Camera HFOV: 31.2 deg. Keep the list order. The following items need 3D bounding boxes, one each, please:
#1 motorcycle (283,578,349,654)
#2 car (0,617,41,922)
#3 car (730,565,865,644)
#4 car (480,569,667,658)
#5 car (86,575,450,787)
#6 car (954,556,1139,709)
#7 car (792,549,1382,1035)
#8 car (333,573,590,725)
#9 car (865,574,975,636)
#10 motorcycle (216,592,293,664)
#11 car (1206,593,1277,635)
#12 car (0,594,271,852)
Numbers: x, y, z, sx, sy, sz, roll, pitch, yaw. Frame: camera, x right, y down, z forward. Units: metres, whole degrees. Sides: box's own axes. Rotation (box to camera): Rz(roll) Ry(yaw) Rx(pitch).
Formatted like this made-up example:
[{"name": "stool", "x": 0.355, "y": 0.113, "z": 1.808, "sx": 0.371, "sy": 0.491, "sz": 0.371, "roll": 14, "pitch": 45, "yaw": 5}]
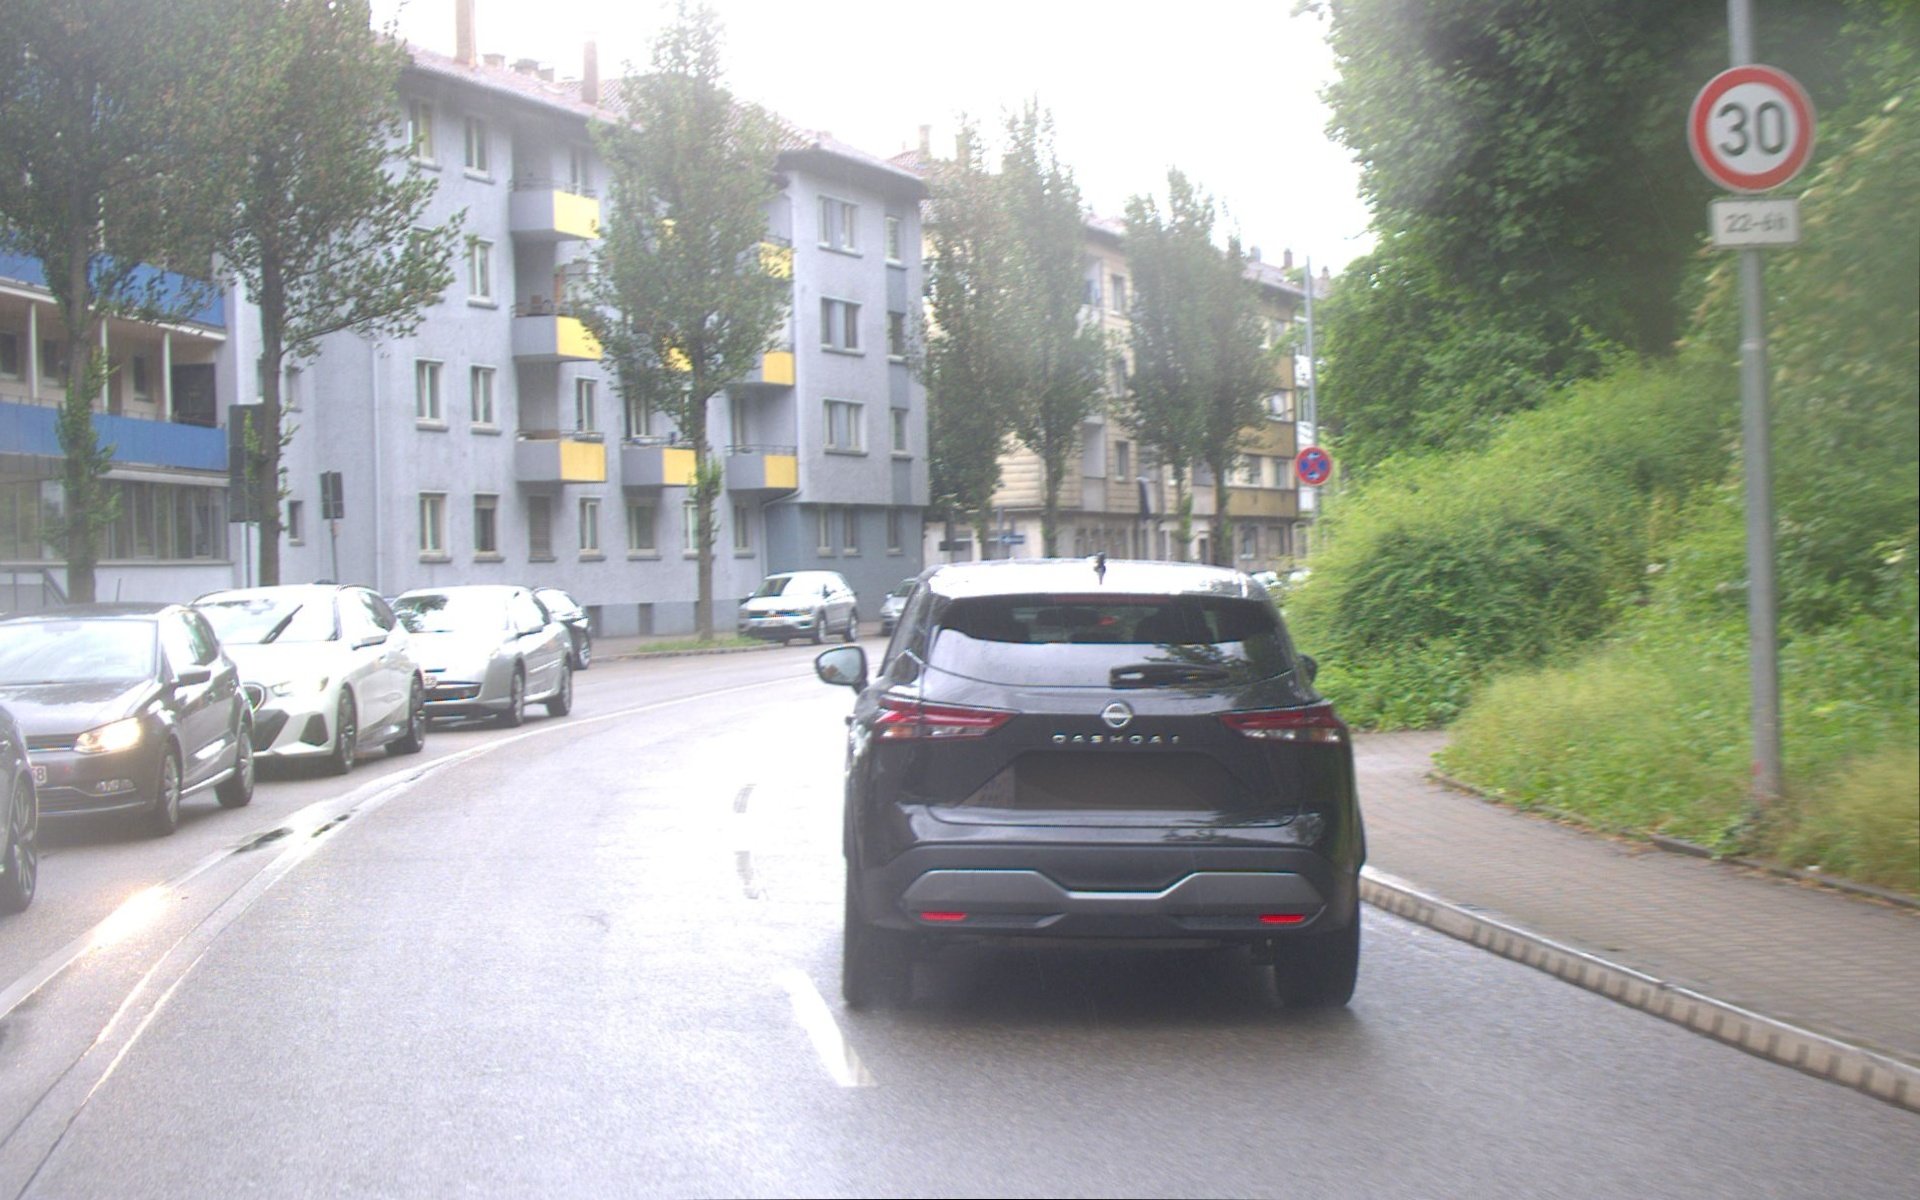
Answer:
[{"name": "motorcycle", "x": -12.424, "y": 0.300, "z": 66.386, "sx": 0.675, "sy": 1.409, "sz": 2.236, "roll": 1, "pitch": 1, "yaw": 5}, {"name": "car", "x": -5.260, "y": 0.834, "z": 14.513, "sx": 1.790, "sy": 1.402, "sz": 4.626, "roll": -2, "pitch": 1, "yaw": -4}, {"name": "car", "x": -3.541, "y": 0.067, "z": 75.742, "sx": 1.764, "sy": 1.598, "sz": 4.531, "roll": -2, "pitch": 0, "yaw": 13}, {"name": "car", "x": -6.879, "y": 0.214, "z": 61.671, "sx": 1.821, "sy": 1.435, "sz": 4.890, "roll": -3, "pitch": 0, "yaw": 12}, {"name": "car", "x": -5.634, "y": 0.598, "z": 28.638, "sx": 1.820, "sy": 1.511, "sz": 5.028, "roll": -3, "pitch": 1, "yaw": 2}, {"name": "car", "x": 1.084, "y": 0.349, "z": 40.990, "sx": 1.887, "sy": 1.705, "sz": 3.999, "roll": -1, "pitch": 0, "yaw": 6}, {"name": "car", "x": 0.330, "y": 0.602, "z": 13.369, "sx": 1.844, "sy": 1.577, "sz": 4.001, "roll": 0, "pitch": 1, "yaw": -4}, {"name": "car", "x": -5.130, "y": 0.466, "z": 35.967, "sx": 1.753, "sy": 1.420, "sz": 4.536, "roll": -2, "pitch": 1, "yaw": 3}, {"name": "car", "x": -0.981, "y": 0.111, "z": 86.381, "sx": 1.725, "sy": 1.448, "sz": 4.203, "roll": -2, "pitch": 0, "yaw": 14}, {"name": "motorcycle", "x": -12.754, "y": 0.503, "z": 62.232, "sx": 0.675, "sy": 1.249, "sz": 2.236, "roll": 1, "pitch": 1, "yaw": 7}, {"name": "car", "x": 10.231, "y": 0.503, "z": 124.713, "sx": 1.627, "sy": 1.382, "sz": 3.985, "roll": -2, "pitch": 0, "yaw": 18}, {"name": "car", "x": -5.627, "y": 0.735, "z": 22.032, "sx": 1.679, "sy": 1.442, "sz": 3.820, "roll": -3, "pitch": 1, "yaw": -1}]
